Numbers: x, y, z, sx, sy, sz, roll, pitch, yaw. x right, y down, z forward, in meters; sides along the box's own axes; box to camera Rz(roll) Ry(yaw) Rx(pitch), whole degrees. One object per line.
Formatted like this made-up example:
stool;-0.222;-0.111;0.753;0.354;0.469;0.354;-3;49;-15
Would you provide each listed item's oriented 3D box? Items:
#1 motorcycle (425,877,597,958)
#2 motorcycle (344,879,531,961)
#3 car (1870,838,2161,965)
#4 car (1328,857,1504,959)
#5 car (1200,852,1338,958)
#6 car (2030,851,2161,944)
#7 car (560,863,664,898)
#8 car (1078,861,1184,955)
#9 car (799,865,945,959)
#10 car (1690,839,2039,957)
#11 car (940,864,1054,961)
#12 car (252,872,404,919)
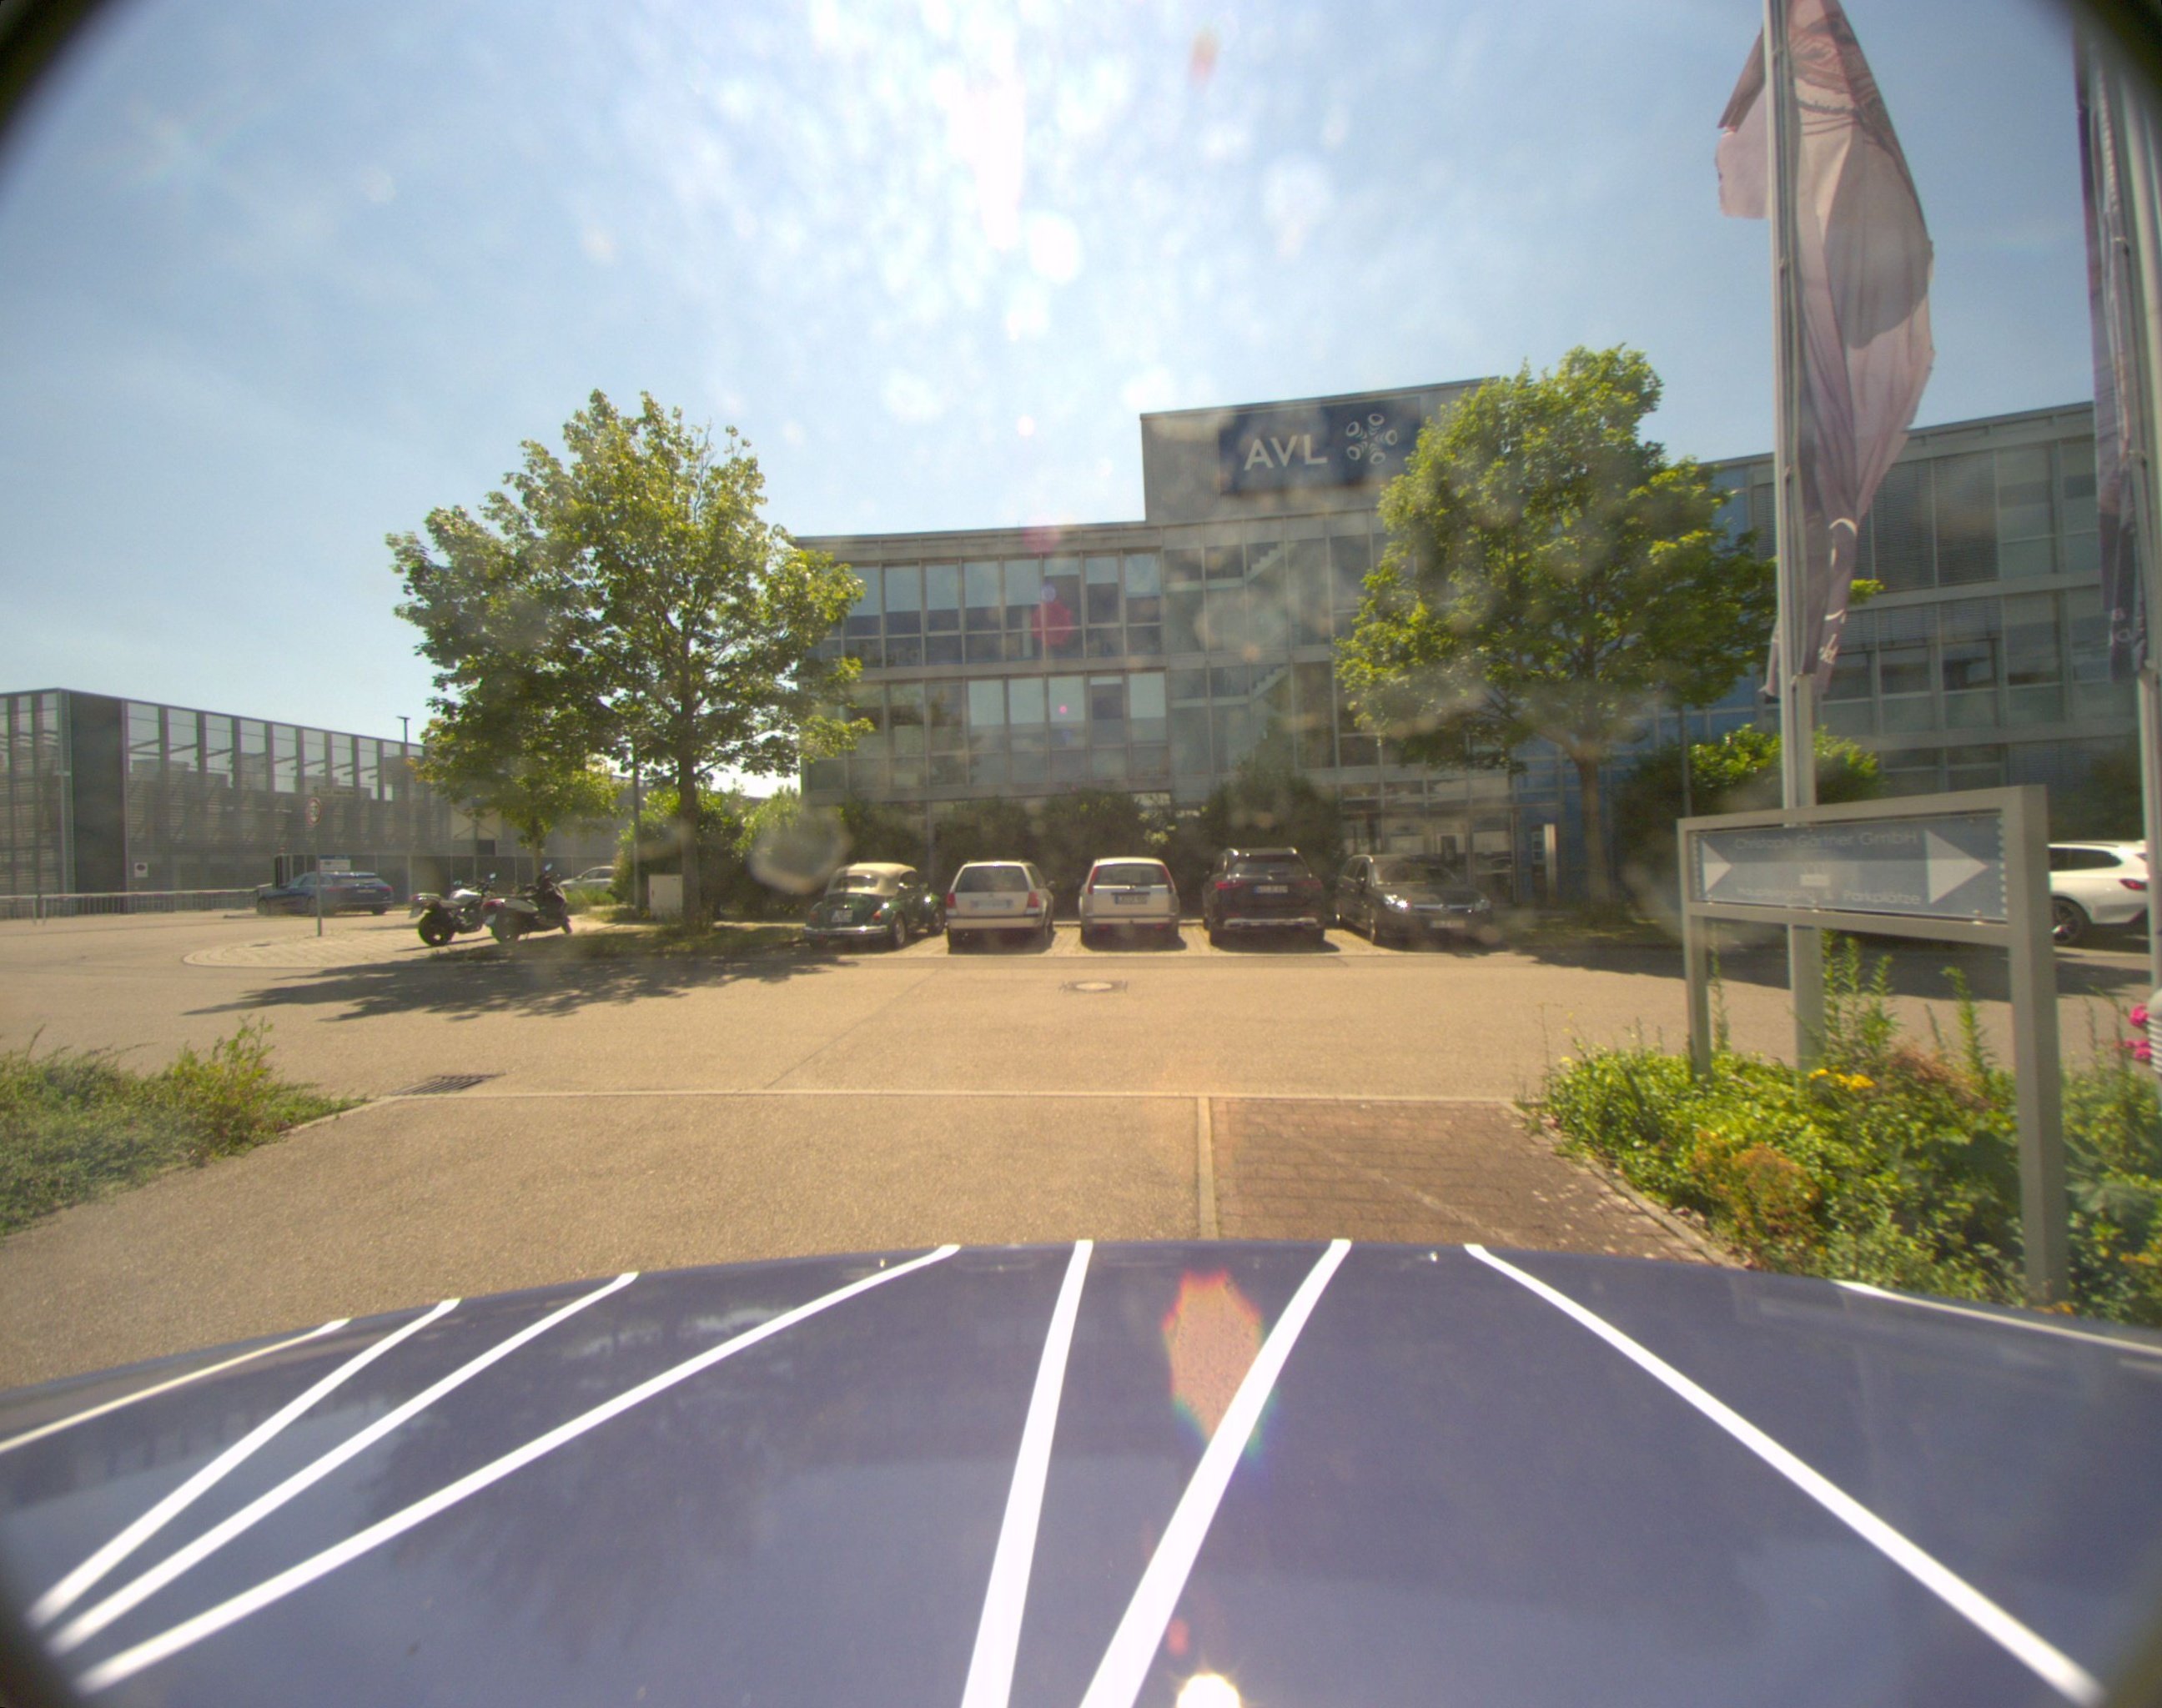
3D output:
motorcycle;-10.626;1.136;14.380;0.873;1.252;2.836;-1;1;6
motorcycle;-11.971;1.173;14.336;0.873;1.252;2.836;-1;1;6
car;15.036;0.591;11.734;1.831;1.628;4.174;-1;0;9
car;5.743;0.831;13.629;1.729;1.475;4.399;-1;0;8
car;3.232;0.797;13.804;1.937;1.593;3.861;-1;1;6
car;17.404;0.664;11.320;1.750;1.392;4.174;-1;0;9
car;-21.267;1.206;34.418;4.404;1.467;1.783;-1;0;24
car;0.847;0.908;14.264;1.731;1.444;3.600;-1;1;1
car;-3.691;0.970;14.020;1.521;1.437;3.420;0;1;4
car;12.507;0.612;12.614;1.831;1.628;4.173;-1;0;7
car;-1.398;0.956;13.916;1.642;1.444;3.600;0;1;1
car;-25.023;1.372;25.251;4.436;1.401;1.862;-1;0;21
